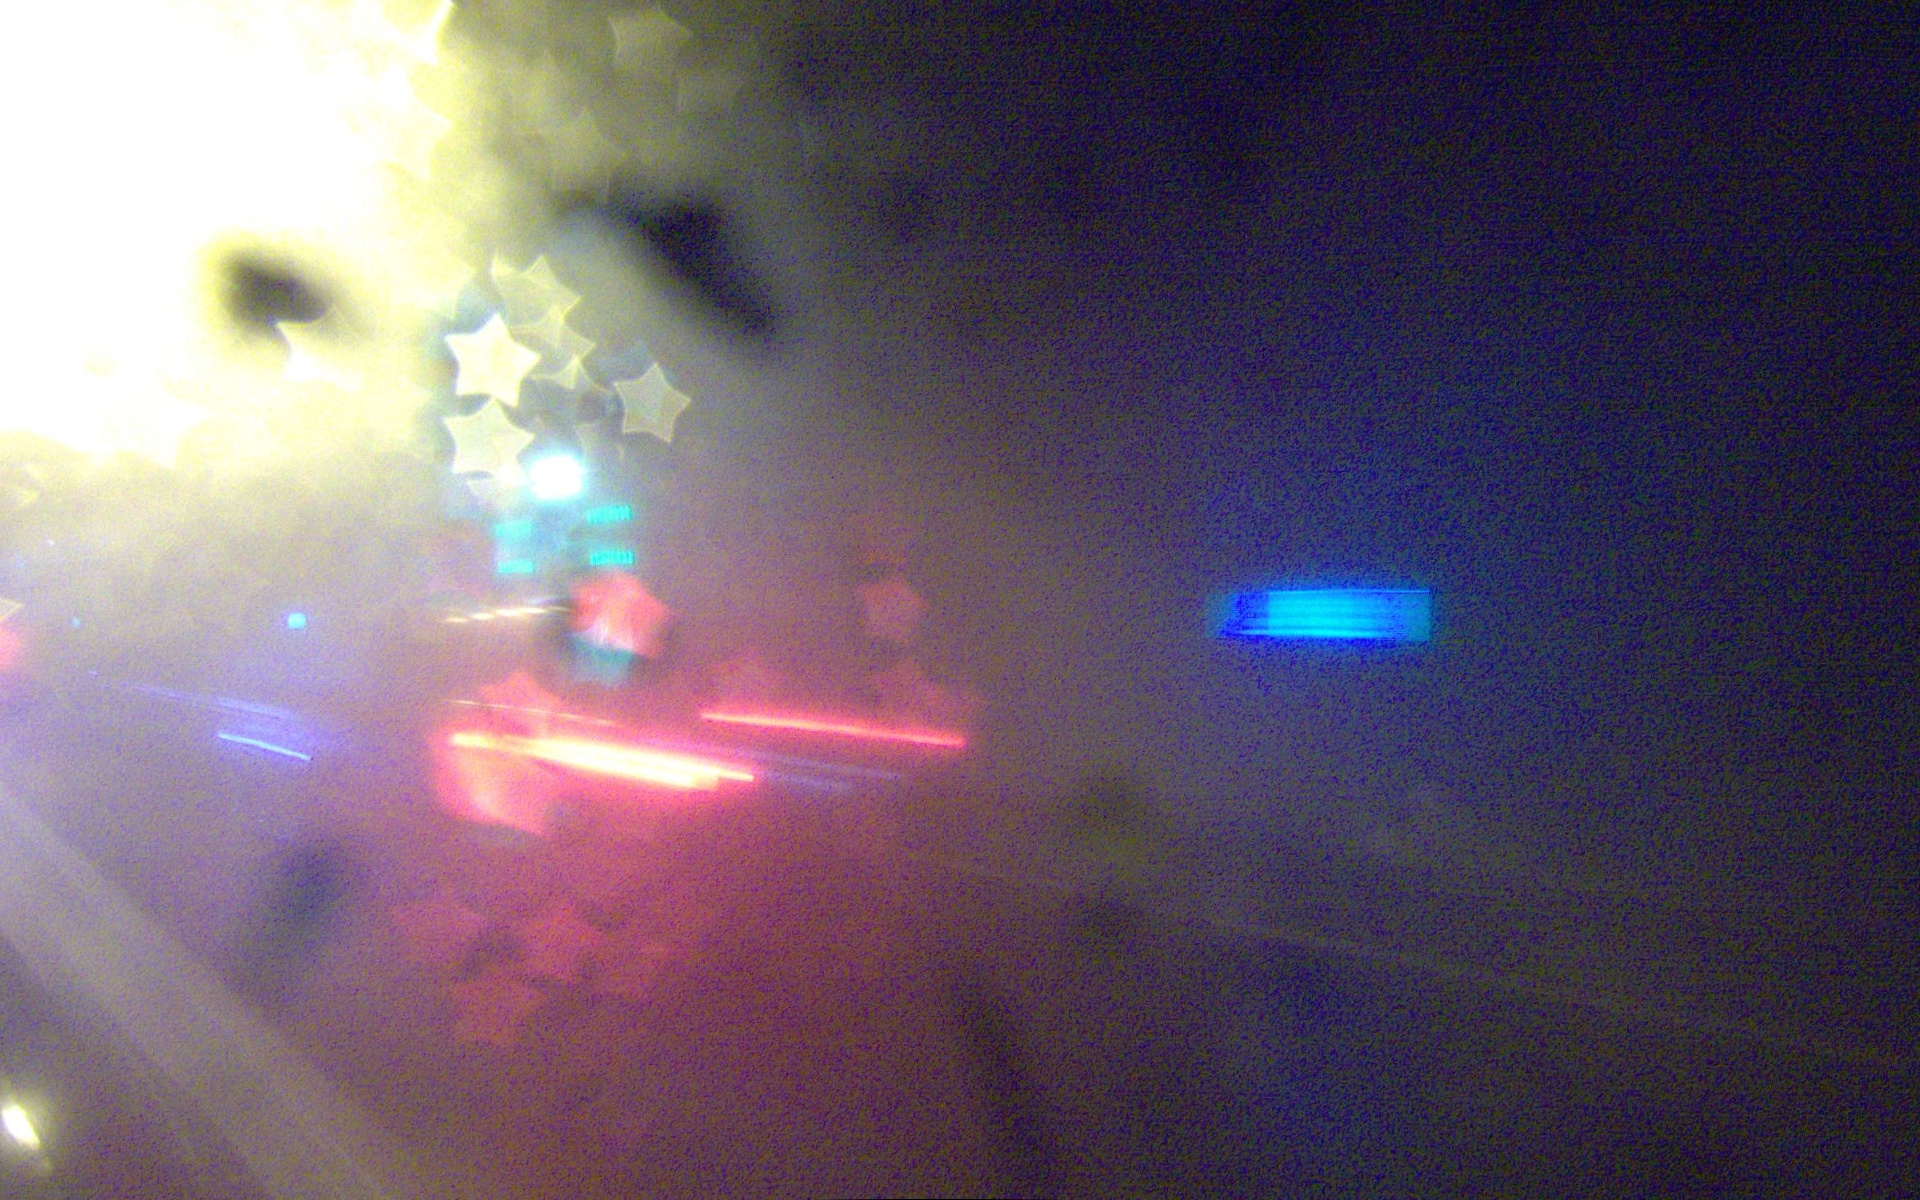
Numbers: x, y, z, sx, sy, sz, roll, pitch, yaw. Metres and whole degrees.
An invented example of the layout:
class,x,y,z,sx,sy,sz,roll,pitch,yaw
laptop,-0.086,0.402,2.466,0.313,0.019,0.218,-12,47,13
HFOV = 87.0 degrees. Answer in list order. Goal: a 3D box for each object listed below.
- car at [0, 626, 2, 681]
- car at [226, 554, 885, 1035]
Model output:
class,x,y,z,sx,sy,sz,roll,pitch,yaw
car,-28.438,1.502,28.505,4.474,1.491,1.730,-2,-2,42
car,-2.338,0.718,5.225,4.052,1.561,1.504,-3,-3,42
